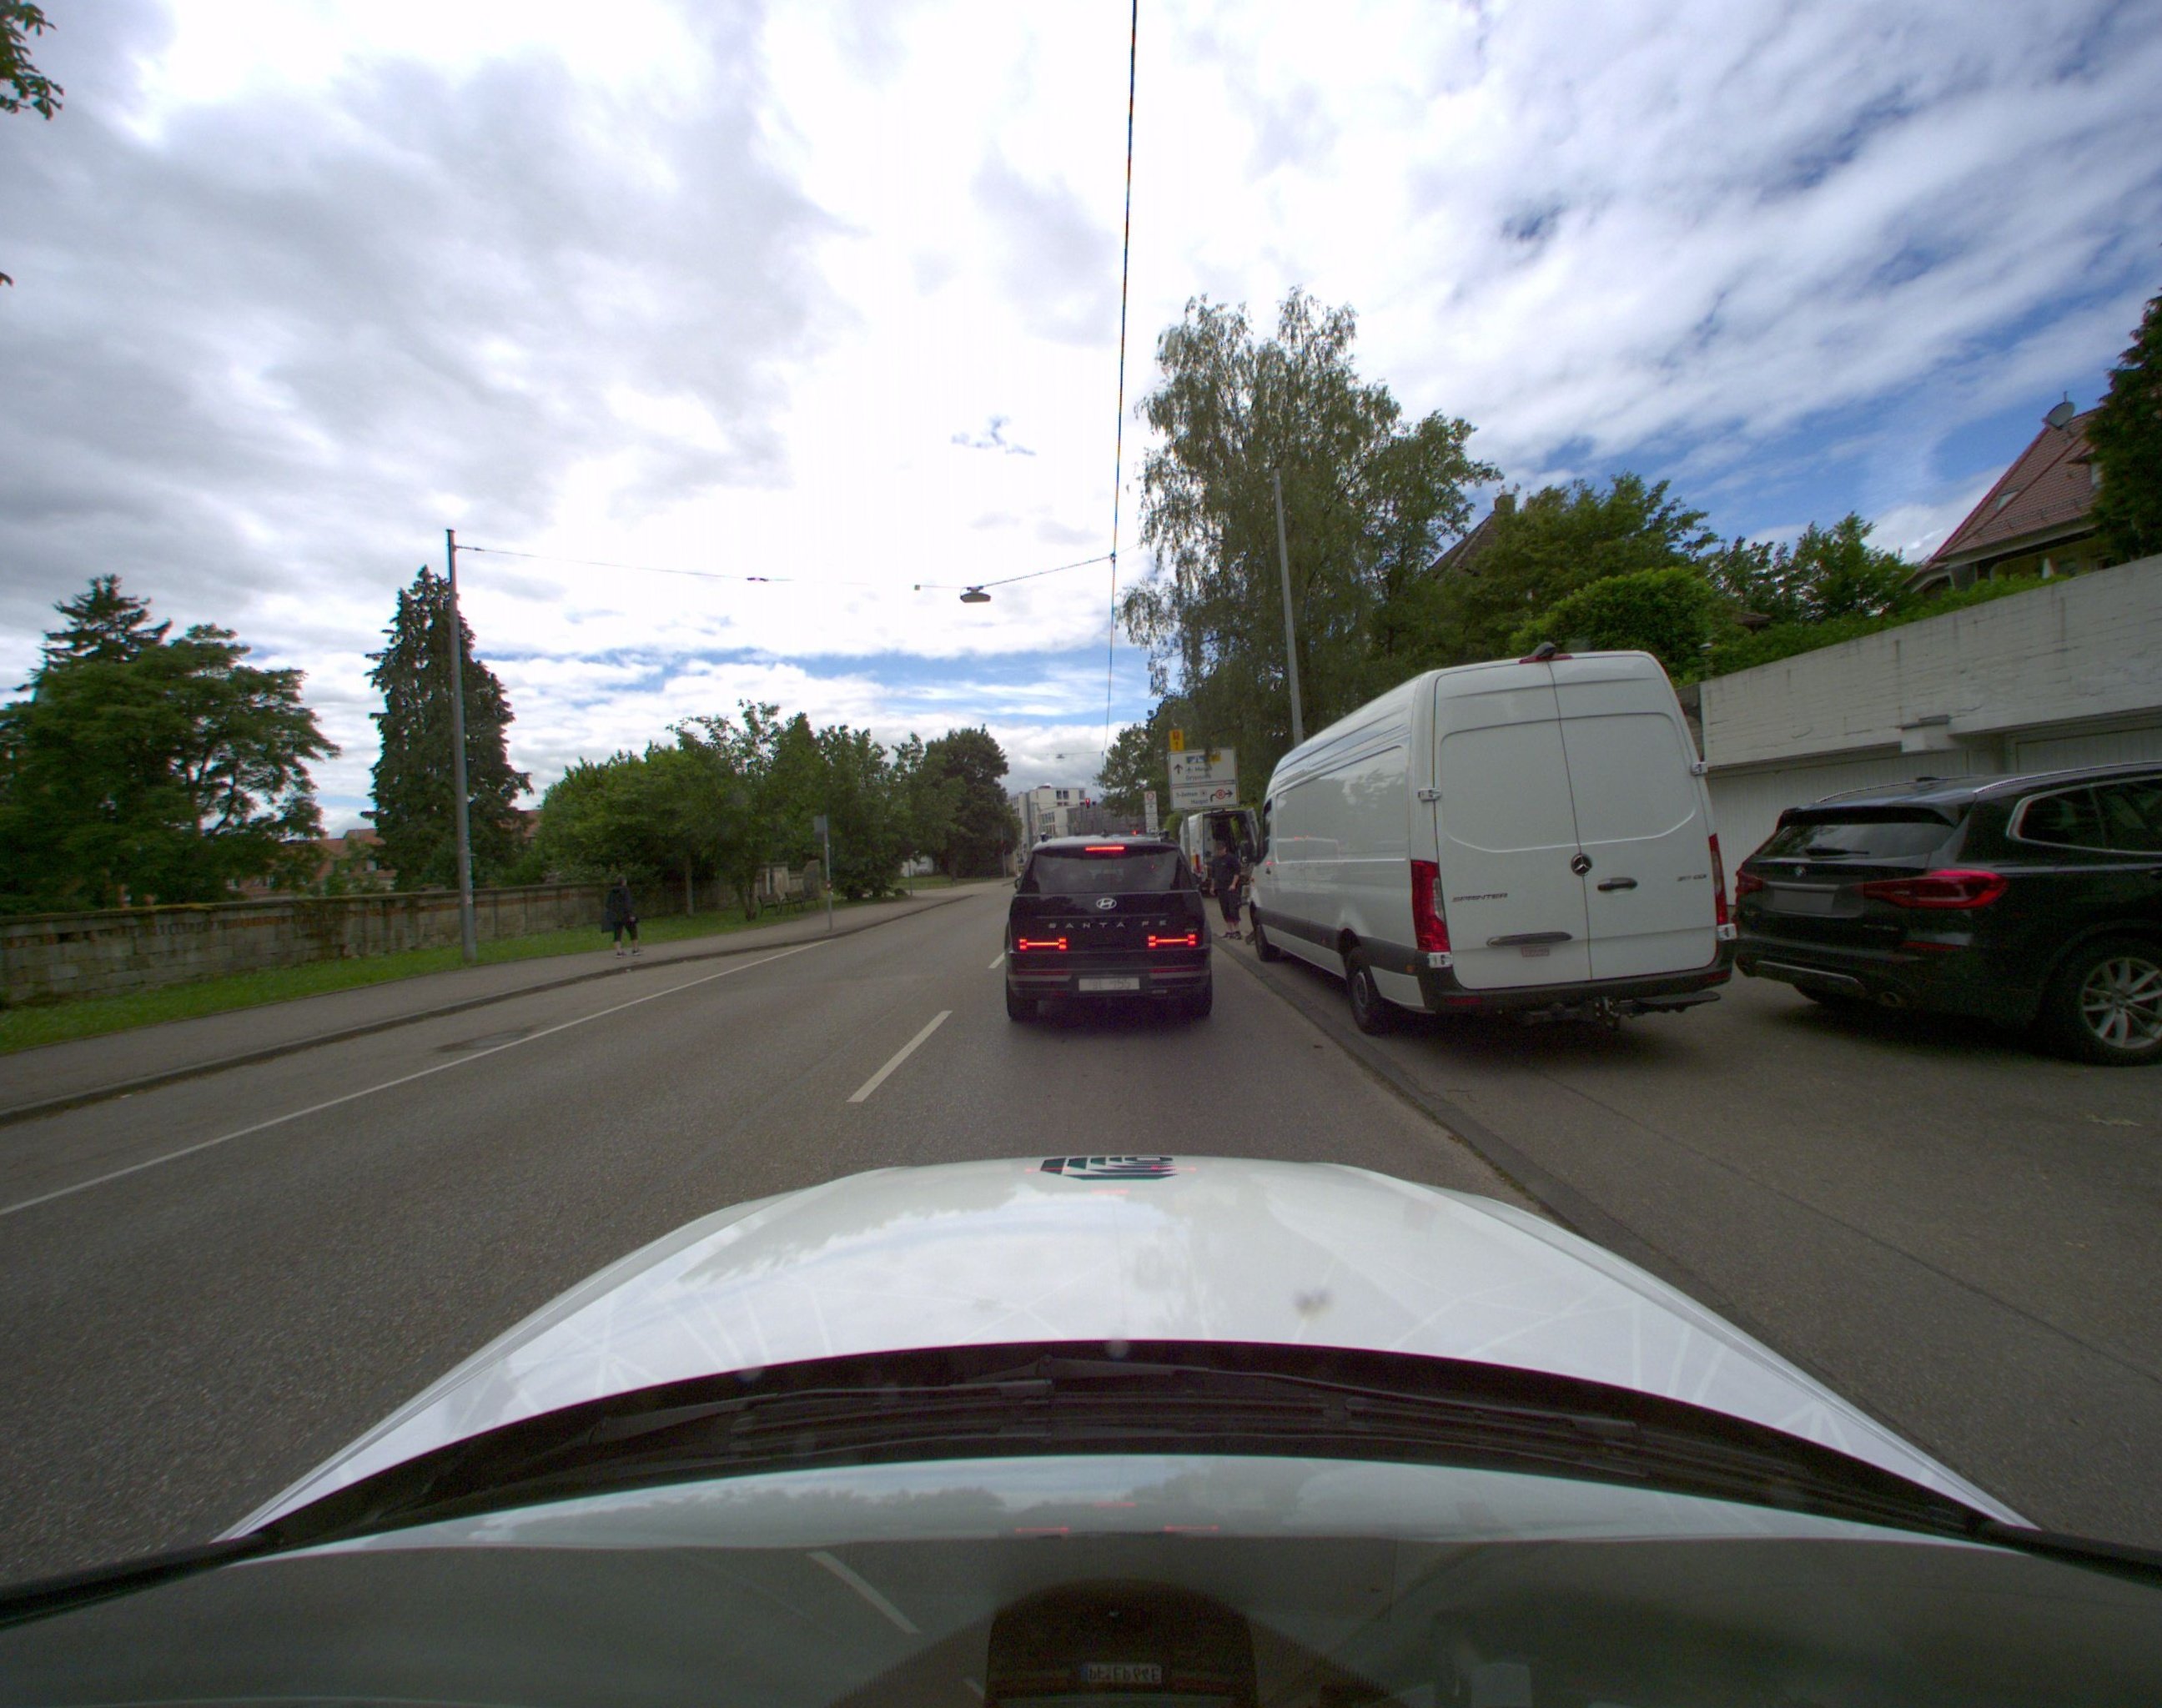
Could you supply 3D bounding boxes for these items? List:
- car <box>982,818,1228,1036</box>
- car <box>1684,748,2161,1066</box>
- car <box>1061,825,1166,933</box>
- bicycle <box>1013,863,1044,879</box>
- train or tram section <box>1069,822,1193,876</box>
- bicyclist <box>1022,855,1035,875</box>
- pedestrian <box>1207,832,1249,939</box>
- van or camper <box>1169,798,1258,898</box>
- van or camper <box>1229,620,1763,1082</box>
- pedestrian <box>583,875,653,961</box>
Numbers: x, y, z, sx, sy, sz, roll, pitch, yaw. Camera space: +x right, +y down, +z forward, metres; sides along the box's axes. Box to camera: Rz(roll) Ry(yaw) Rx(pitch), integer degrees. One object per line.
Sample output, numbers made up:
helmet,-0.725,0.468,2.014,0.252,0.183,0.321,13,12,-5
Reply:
car,0.232,0.601,8.663,1.957,1.711,4.001,-2,0,1
car,6.851,0.183,5.296,4.376,1.652,1.831,-4,0,2
car,0.662,0.489,17.657,1.957,2.001,4.001,-2,0,1
bicycle,-4.403,1.408,68.627,2.477,1.279,0.679,-2,-2,10
train or tram section,4.527,-0.261,83.329,3.212,4.523,18.508,-1,-2,-29
bicyclist,-4.414,0.913,68.635,0.850,1.659,0.679,-2,-2,10
pedestrian,2.493,0.531,13.810,0.599,1.743,0.621,-2,-2,13
van or camper,4.243,-0.177,26.939,1.957,2.797,5.287,-5,0,1
van or camper,3.095,-0.015,8.123,1.957,2.627,6.359,-5,0,1
pedestrian,-9.019,1.229,15.907,0.746,1.578,0.967,-2,0,1
